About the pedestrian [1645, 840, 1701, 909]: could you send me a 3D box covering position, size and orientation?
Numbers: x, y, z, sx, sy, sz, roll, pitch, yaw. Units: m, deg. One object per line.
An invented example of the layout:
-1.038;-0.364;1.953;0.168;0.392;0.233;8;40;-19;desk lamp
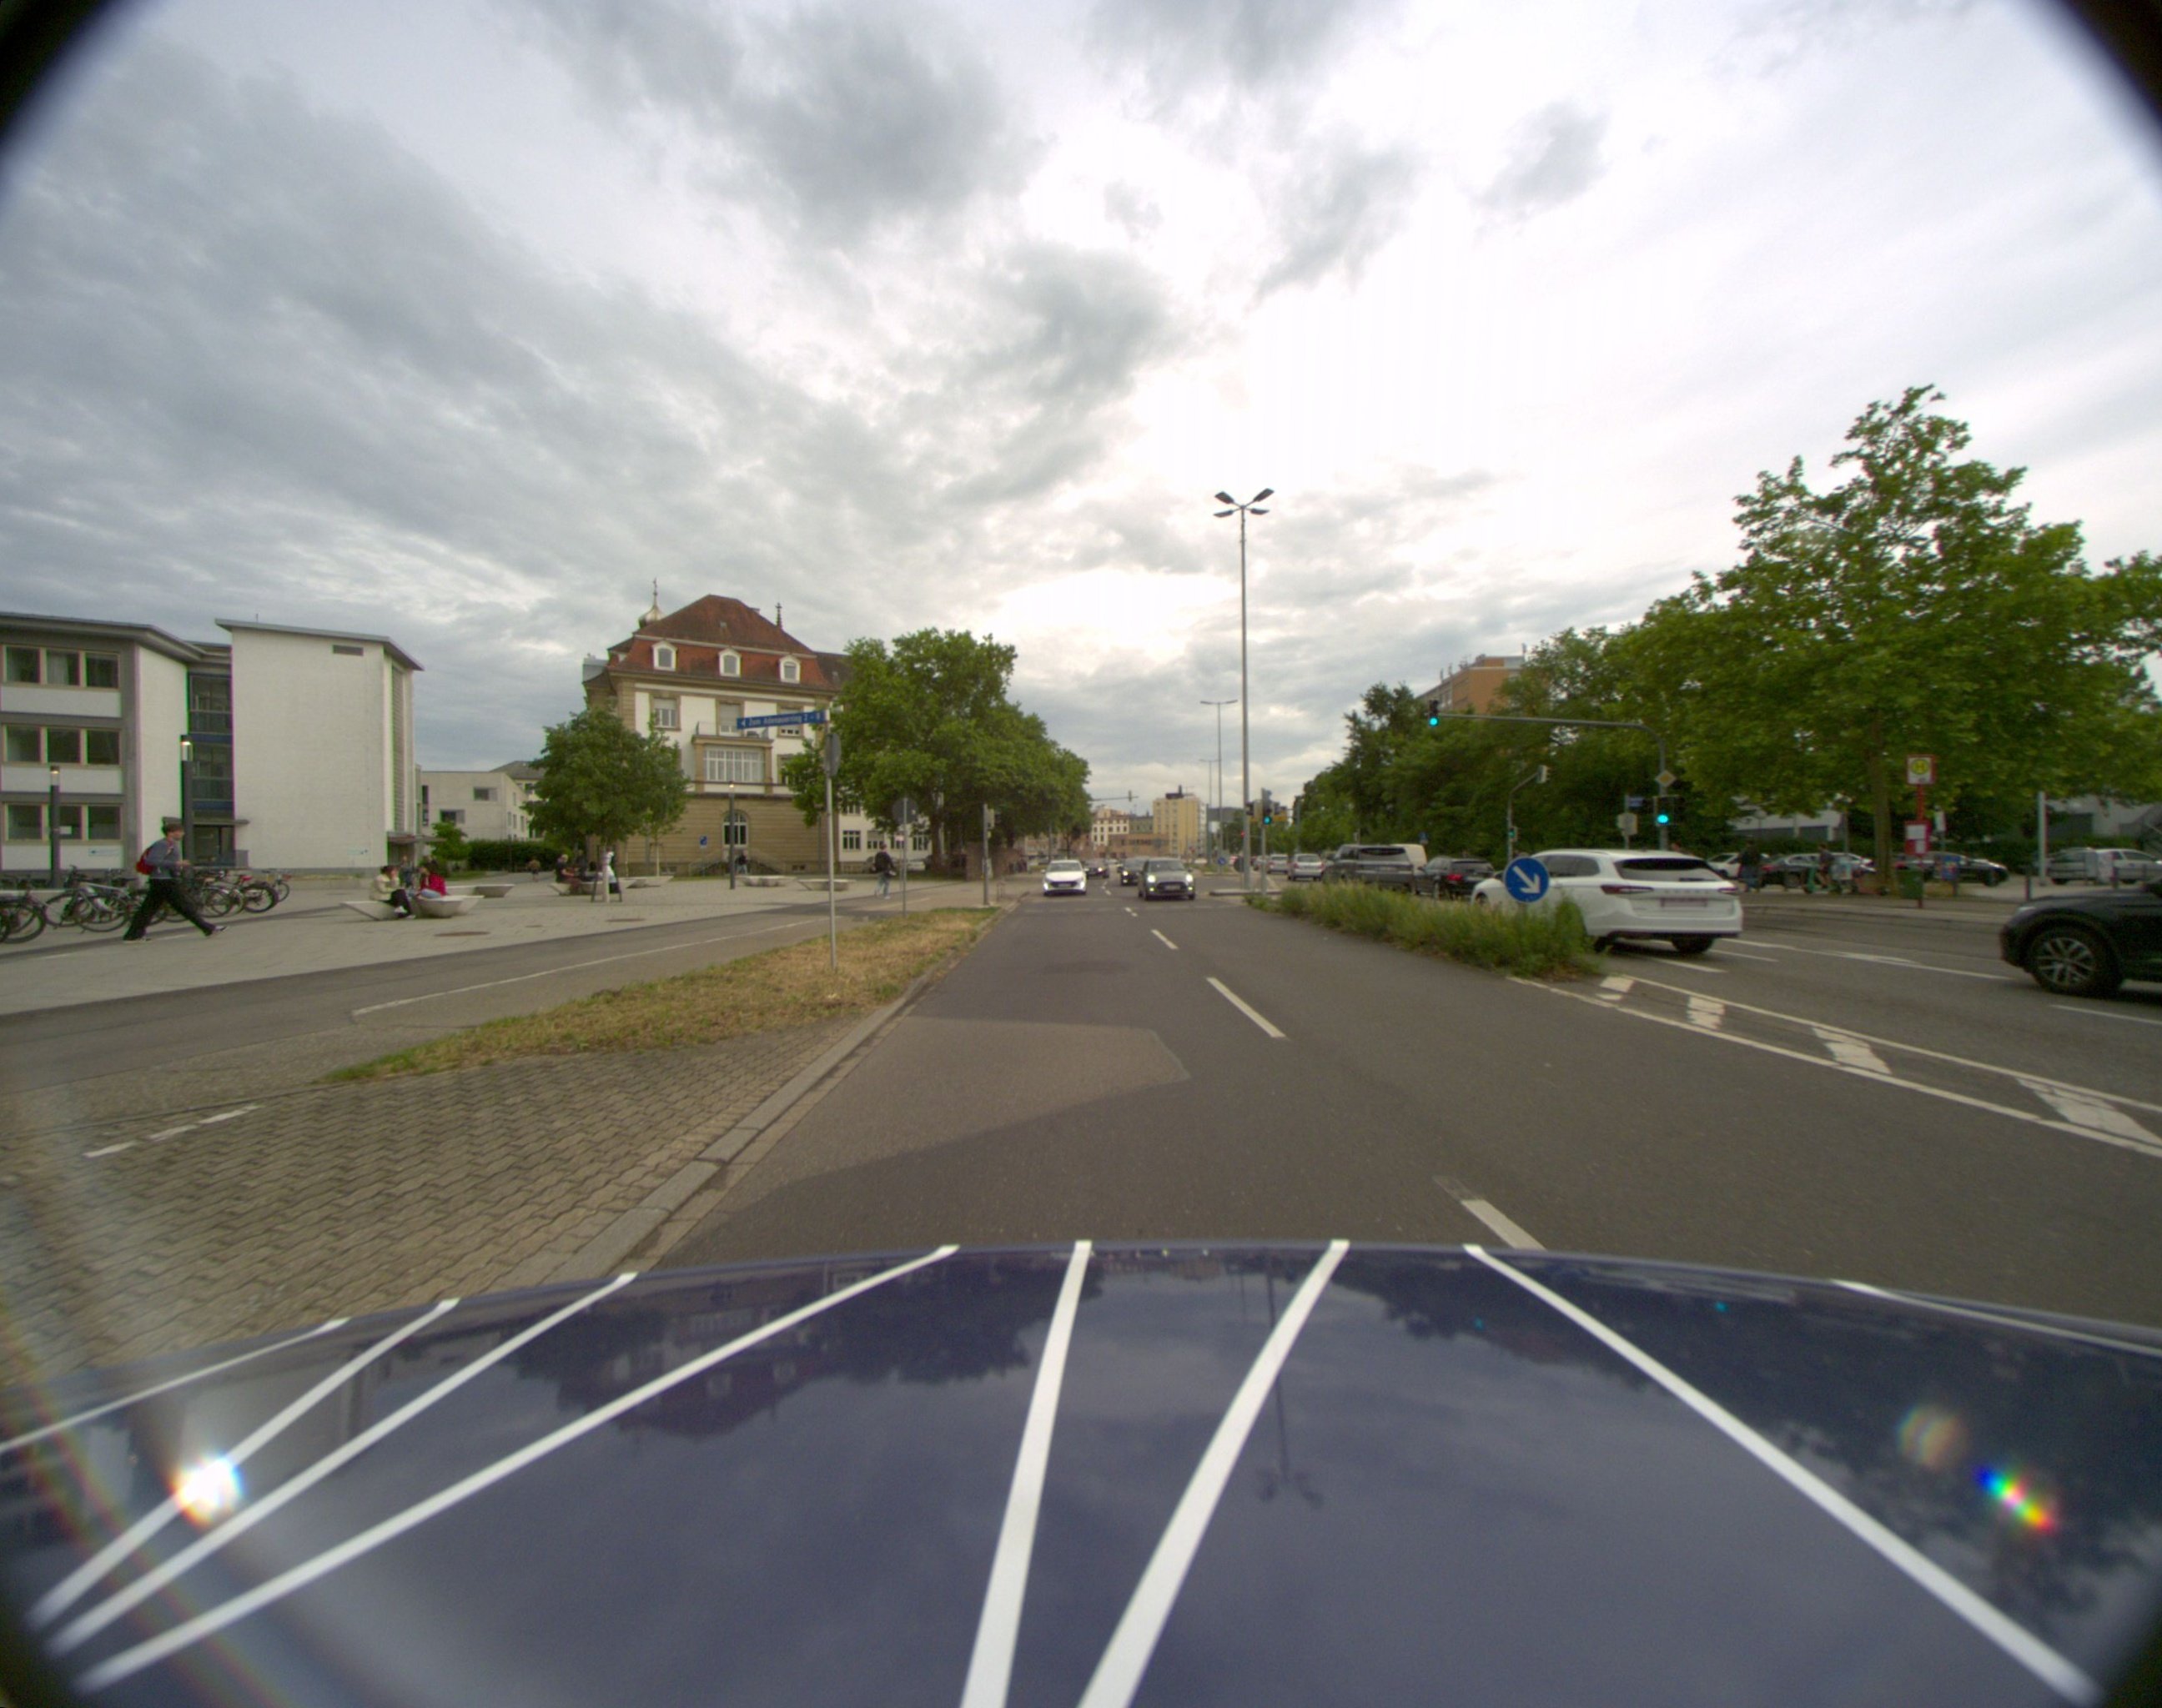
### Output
17.683;0.594;22.727;0.896;2.002;1.010;0;1;3;pedestrian

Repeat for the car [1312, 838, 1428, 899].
9.029;0.432;24.217;1.998;1.677;4.949;-2;0;3;car

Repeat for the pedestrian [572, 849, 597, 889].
-23.611;0.694;36.128;0.738;1.875;0.888;0;1;-14;pedestrian

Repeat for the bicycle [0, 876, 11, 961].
-16.102;0.908;9.692;2.725;1.181;0.772;0;0;-37;bicycle

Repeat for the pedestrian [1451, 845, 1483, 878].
24.793;0.486;48.863;1.185;2.002;1.351;-2;0;-15;pedestrian

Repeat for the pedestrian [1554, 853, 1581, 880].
26.653;0.672;41.644;0.701;1.420;0.998;-2;0;-23;pedestrian

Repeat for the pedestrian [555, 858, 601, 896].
-17.392;0.798;26.288;0.910;1.250;0.879;-2;0;7;pedestrian

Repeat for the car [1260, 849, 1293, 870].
15.383;0.442;59.978;1.961;1.574;4.258;0;0;7;car

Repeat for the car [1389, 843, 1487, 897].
12.012;0.495;25.845;1.702;1.680;4.001;0;0;4;car

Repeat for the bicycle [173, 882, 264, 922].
-20.661;1.133;18.228;1.359;0.893;0.541;0;0;-39;bicycle

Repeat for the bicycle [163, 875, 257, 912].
-22.749;1.005;19.879;1.554;0.893;0.508;0;0;-39;bicycle

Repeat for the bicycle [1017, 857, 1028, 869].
-5.437;0.863;70.873;0.386;1.137;1.938;-2;0;-22;bicycle

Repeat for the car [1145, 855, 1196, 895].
3.197;0.687;26.724;1.624;1.310;3.708;0;0;8;car

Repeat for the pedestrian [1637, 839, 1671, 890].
23.458;0.409;31.127;0.668;2.047;0.852;-1;2;-8;pedestrian

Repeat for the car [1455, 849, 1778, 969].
7.971;0.698;12.064;1.908;1.457;4.912;-2;0;4;car

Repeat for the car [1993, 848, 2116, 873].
53.021;0.343;41.446;3.996;1.279;2.000;0;0;3;car

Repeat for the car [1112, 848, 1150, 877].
2.725;0.414;40.574;1.731;1.450;4.003;0;0;8;car

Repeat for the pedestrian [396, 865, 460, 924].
-14.092;0.857;16.395;0.843;1.199;0.896;0;1;39;pedestrian

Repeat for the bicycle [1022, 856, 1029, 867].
-5.666;0.747;77.693;0.478;1.070;2.083;0;0;1;bicycle

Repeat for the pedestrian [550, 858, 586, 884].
-16.980;0.549;25.146;0.635;0.819;0.734;1;1;20;pedestrian

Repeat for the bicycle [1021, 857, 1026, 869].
-5.447;0.867;72.505;0.339;1.137;1.940;-2;0;-7;bicycle

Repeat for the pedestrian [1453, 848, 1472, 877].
23.158;0.537;46.132;0.590;1.685;0.653;8;2;7;pedestrian

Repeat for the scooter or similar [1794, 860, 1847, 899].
22.116;0.745;22.740;0.361;1.133;1.320;0;0;5;scooter or similar

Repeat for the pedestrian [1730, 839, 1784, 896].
21.797;0.420;24.514;0.897;1.793;0.936;1;1;1;pedestrian

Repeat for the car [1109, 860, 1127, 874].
3.969;1.357;80.431;1.605;1.360;3.580;-2;1;7;car

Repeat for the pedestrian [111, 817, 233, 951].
-14.757;0.463;12.393;1.182;2.050;1.137;-2;0;43;pedestrian

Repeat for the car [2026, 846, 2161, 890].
41.539;0.560;30.709;3.996;1.570;2.000;-2;0;3;car

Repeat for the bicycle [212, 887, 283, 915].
-21.990;1.230;20.066;1.189;0.687;0.489;1;-1;-39;bicycle

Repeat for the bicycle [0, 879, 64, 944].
-17.503;0.910;11.753;1.964;0.996;0.772;0;0;-37;bicycle

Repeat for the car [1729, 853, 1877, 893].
29.706;0.763;31.368;4.152;1.463;2.000;-2;0;1;car

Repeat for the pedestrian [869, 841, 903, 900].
-6.738;0.574;26.318;0.844;2.002;0.895;0;1;6;pedestrian

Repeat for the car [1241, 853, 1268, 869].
16.524;0.644;72.629;1.998;1.520;4.275;0;0;5;car

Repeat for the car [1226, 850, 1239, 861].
25.613;0.217;128.444;1.892;1.762;4.002;-2;0;8;car

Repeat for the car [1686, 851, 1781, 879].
36.473;0.589;42.543;3.592;1.441;1.863;-1;0;4;car

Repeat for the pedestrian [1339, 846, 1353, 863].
24.684;0.049;70.695;0.990;1.616;0.814;-2;0;6;pedestrian

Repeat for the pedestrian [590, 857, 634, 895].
-16.227;0.752;26.315;0.910;1.250;0.879;-2;0;7;pedestrian

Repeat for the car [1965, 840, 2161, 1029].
10.557;0.714;6.059;1.998;1.684;4.469;0;0;4;car

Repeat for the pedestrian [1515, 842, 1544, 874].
28.352;0.245;48.025;1.043;2.002;1.098;-2;0;-26;pedestrian

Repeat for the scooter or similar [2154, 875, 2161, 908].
22.824;0.783;15.402;0.407;0.689;1.290;-2;0;7;scooter or similar

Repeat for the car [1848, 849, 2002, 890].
34.516;0.606;31.169;3.997;1.463;2.000;-2;0;1;car

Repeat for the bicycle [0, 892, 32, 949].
-18.423;1.100;12.138;1.850;0.893;0.670;0;0;-44;bicycle

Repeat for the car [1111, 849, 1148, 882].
3.096;0.677;47.527;1.997;2.002;4.002;0;0;8;car

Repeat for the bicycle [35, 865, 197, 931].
-19.681;0.887;15.547;2.010;1.298;0.645;1;-1;-17;bicycle

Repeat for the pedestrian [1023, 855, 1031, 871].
-7.310;1.197;102.524;0.784;2.002;0.888;5;0;-12;pedestrian

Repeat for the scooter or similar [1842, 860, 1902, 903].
21.960;0.748;21.125;0.361;1.133;1.320;0;0;5;scooter or similar

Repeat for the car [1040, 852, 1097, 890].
-0.470;0.676;32.421;1.812;1.532;4.003;0;0;8;car

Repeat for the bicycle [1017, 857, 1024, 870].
-5.544;0.863;69.375;0.386;1.137;1.940;-2;0;-12;bicycle

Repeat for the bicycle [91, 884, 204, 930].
-20.136;1.129;16.428;1.476;0.893;0.393;0;0;-39;bicycle

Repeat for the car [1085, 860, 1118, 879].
1.436;1.062;51.874;1.702;1.181;2.832;-2;0;12;car

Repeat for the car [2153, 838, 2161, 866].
60.864;-0.109;40.609;3.995;1.532;2.001;0;0;6;car

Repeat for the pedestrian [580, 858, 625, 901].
-15.752;0.834;25.039;0.911;1.359;0.878;-2;0;-5;pedestrian

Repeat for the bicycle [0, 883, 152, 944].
-18.740;1.070;13.820;2.195;1.000;0.780;0;0;-25;bicycle

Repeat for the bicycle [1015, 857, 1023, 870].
-5.374;0.849;66.203;0.386;1.137;1.940;-2;0;-12;bicycle

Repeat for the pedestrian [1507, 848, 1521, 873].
27.797;0.396;48.789;0.503;1.597;0.602;0;1;-6;pedestrian

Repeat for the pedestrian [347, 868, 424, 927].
-14.538;0.892;15.898;0.892;1.186;0.846;0;1;18;pedestrian

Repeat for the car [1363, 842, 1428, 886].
14.387;0.445;35.043;1.775;1.837;4.492;-2;0;10;car

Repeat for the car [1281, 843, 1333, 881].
12.466;0.429;42.177;1.998;2.002;4.001;0;0;4;car
